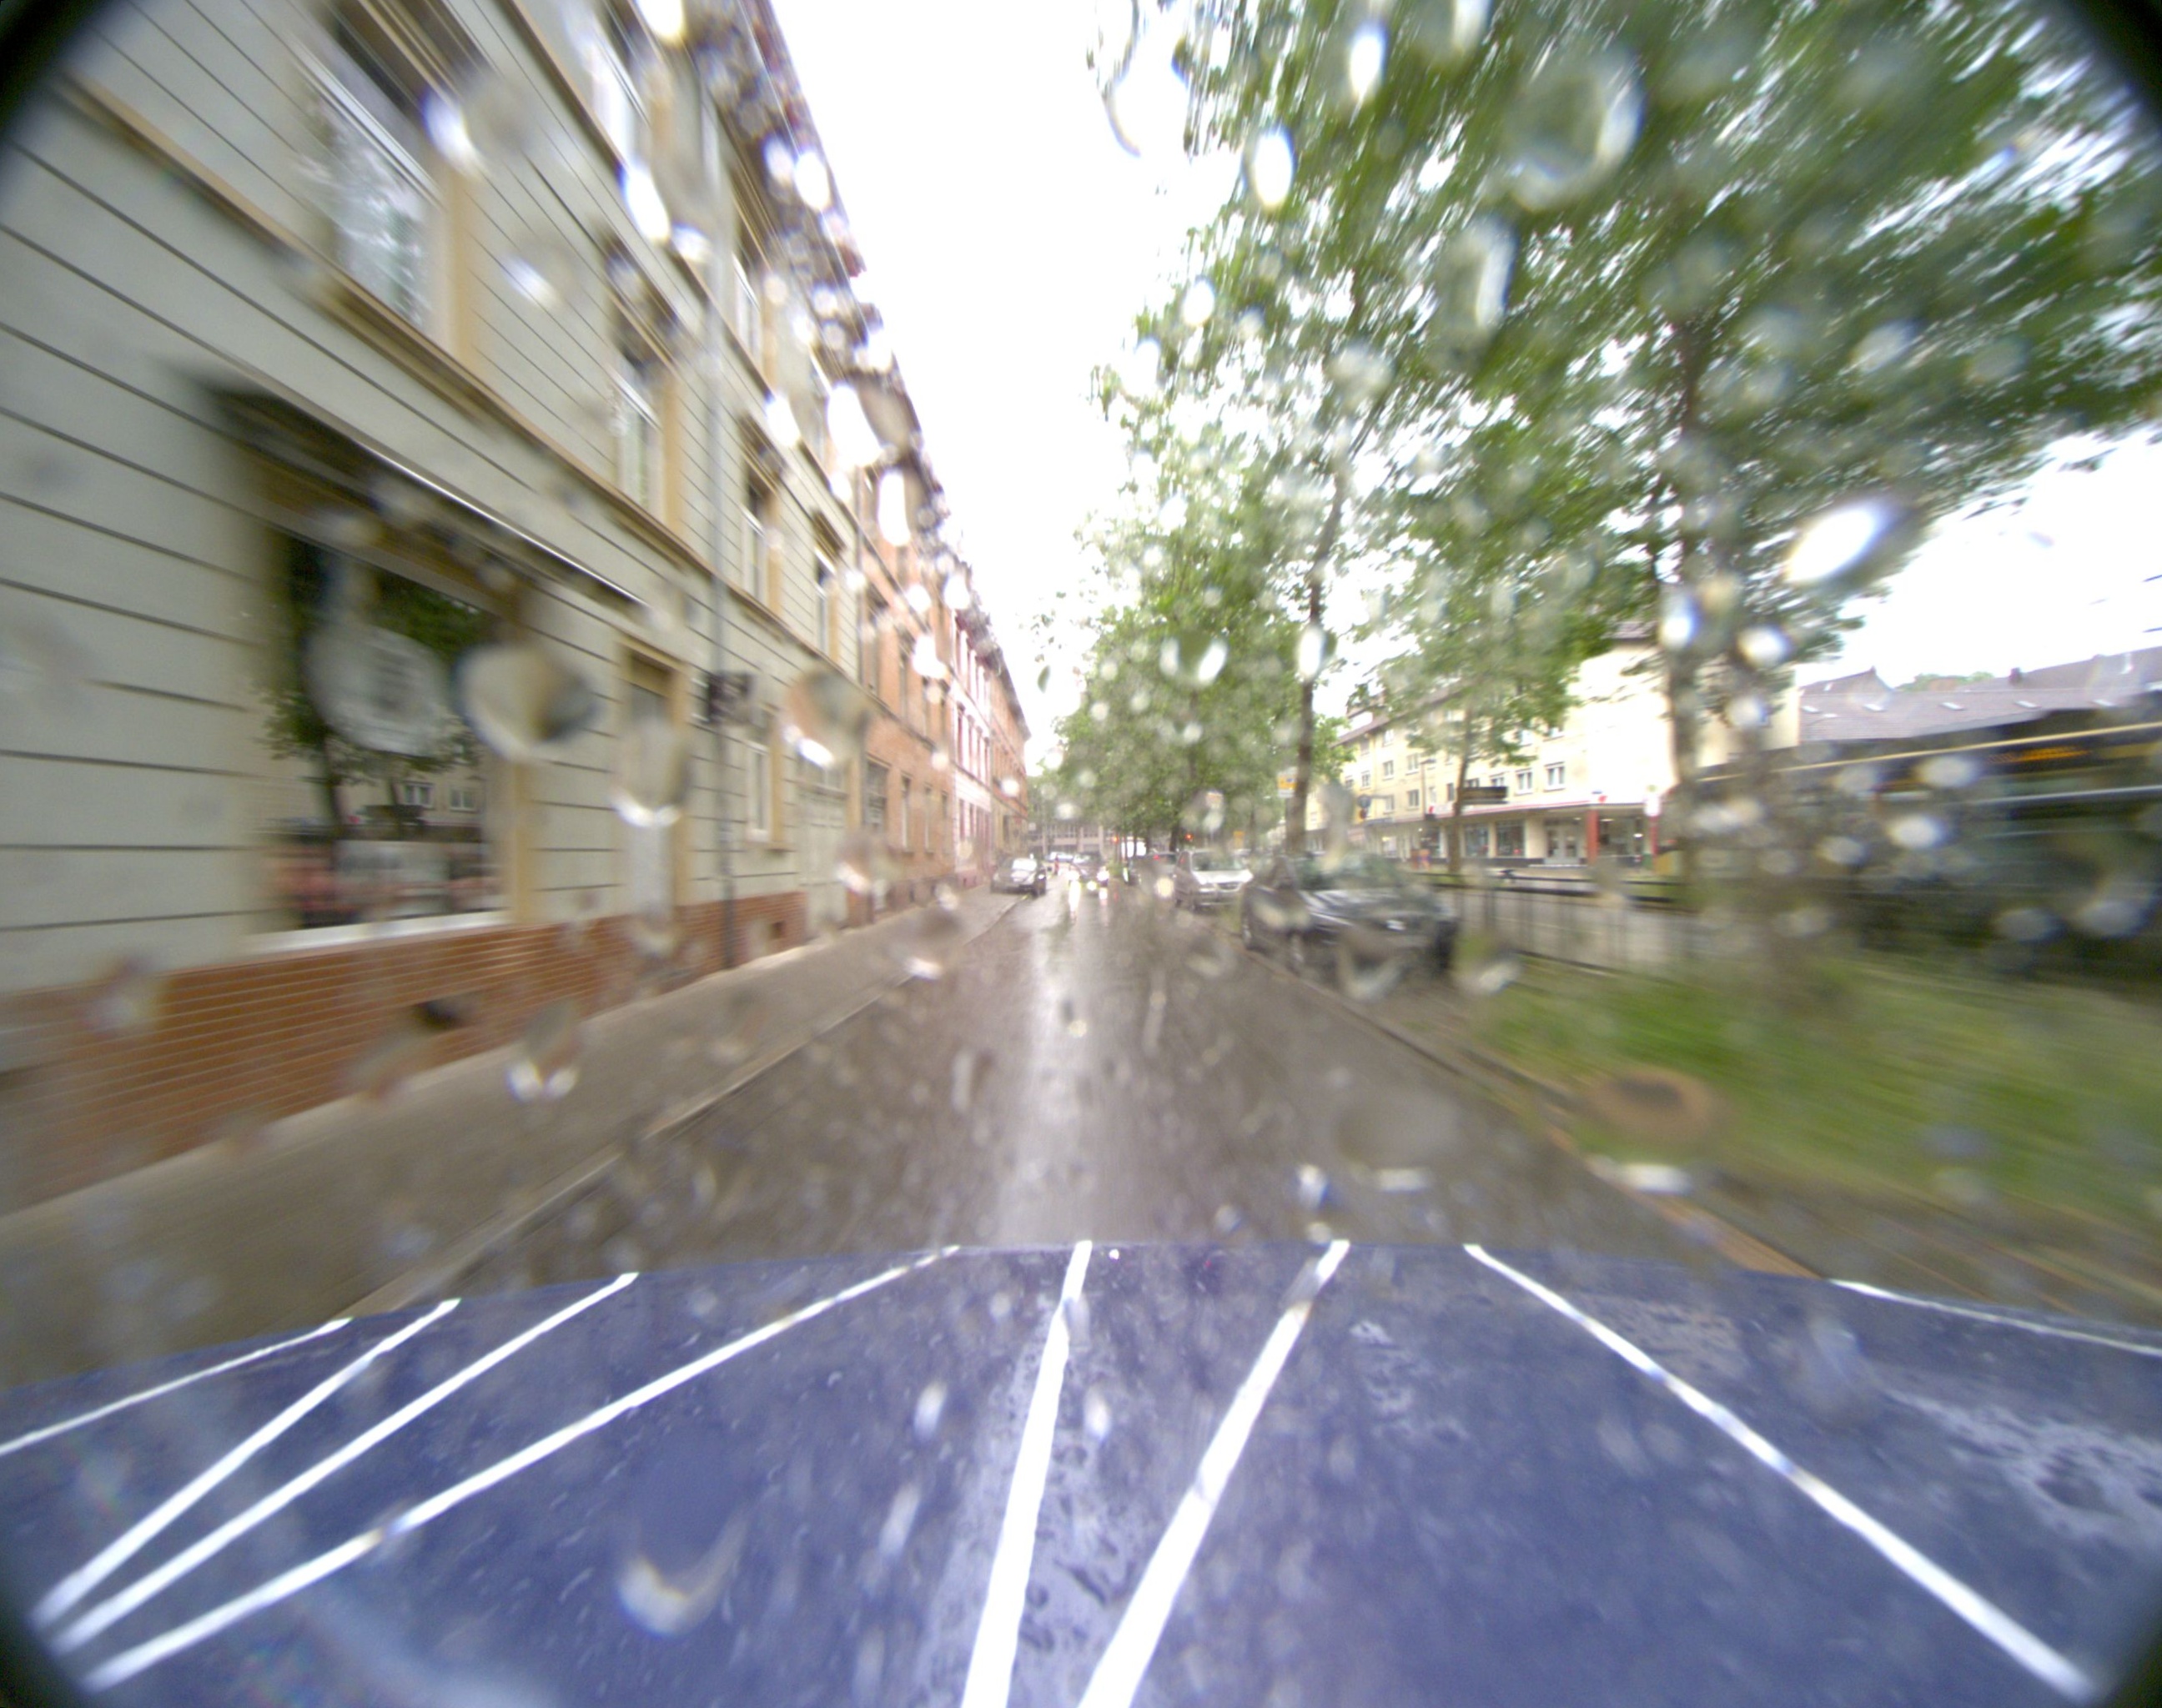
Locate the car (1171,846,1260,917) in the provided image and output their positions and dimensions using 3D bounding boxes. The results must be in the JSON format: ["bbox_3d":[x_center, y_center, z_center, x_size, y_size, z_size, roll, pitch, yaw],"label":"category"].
[{"bbox_3d":[3.256,0.625,18.926,1.572,1.567,3.327,-2,0,0],"label":"car"}]

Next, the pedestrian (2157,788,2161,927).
[{"bbox_3d":[13.971,0.040,9.115,0.959,1.773,0.819,-1,1,30],"label":"pedestrian"}]

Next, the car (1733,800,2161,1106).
[{"bbox_3d":[6.645,0.504,4.909,1.676,1.653,3.648,-2,0,-1],"label":"car"}]

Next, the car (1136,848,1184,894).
[{"bbox_3d":[2.977,0.598,28.715,1.664,1.567,3.423,-2,0,6],"label":"car"}]

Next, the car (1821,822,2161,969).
[{"bbox_3d":[11.665,0.394,9.205,1.676,1.376,3.704,-5,0,-1],"label":"car"}]

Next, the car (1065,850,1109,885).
[{"bbox_3d":[0.363,0.623,37.816,1.976,1.629,4.161,-2,0,3],"label":"car"}]

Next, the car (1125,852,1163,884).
[{"bbox_3d":[3.074,0.656,37.434,1.664,1.420,3.422,-2,0,2],"label":"car"}]

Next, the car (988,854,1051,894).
[{"bbox_3d":[-2.360,0.755,30.404,1.976,1.359,4.161,3,1,2],"label":"car"}]

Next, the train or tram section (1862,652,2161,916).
[{"bbox_3d":[16.316,-0.989,8.660,2.907,3.621,11.549,-3,1,0],"label":"train or tram section"}]

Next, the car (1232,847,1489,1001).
[{"bbox_3d":[3.188,0.693,9.577,1.732,1.473,4.005,-2,0,0],"label":"car"}]

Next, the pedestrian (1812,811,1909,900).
[{"bbox_3d":[14.550,0.027,14.221,0.817,1.586,0.962,-2,1,3],"label":"pedestrian"}]

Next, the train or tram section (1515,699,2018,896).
[{"bbox_3d":[16.336,-1.155,20.202,2.907,3.621,11.549,-3,1,0],"label":"train or tram section"}]
